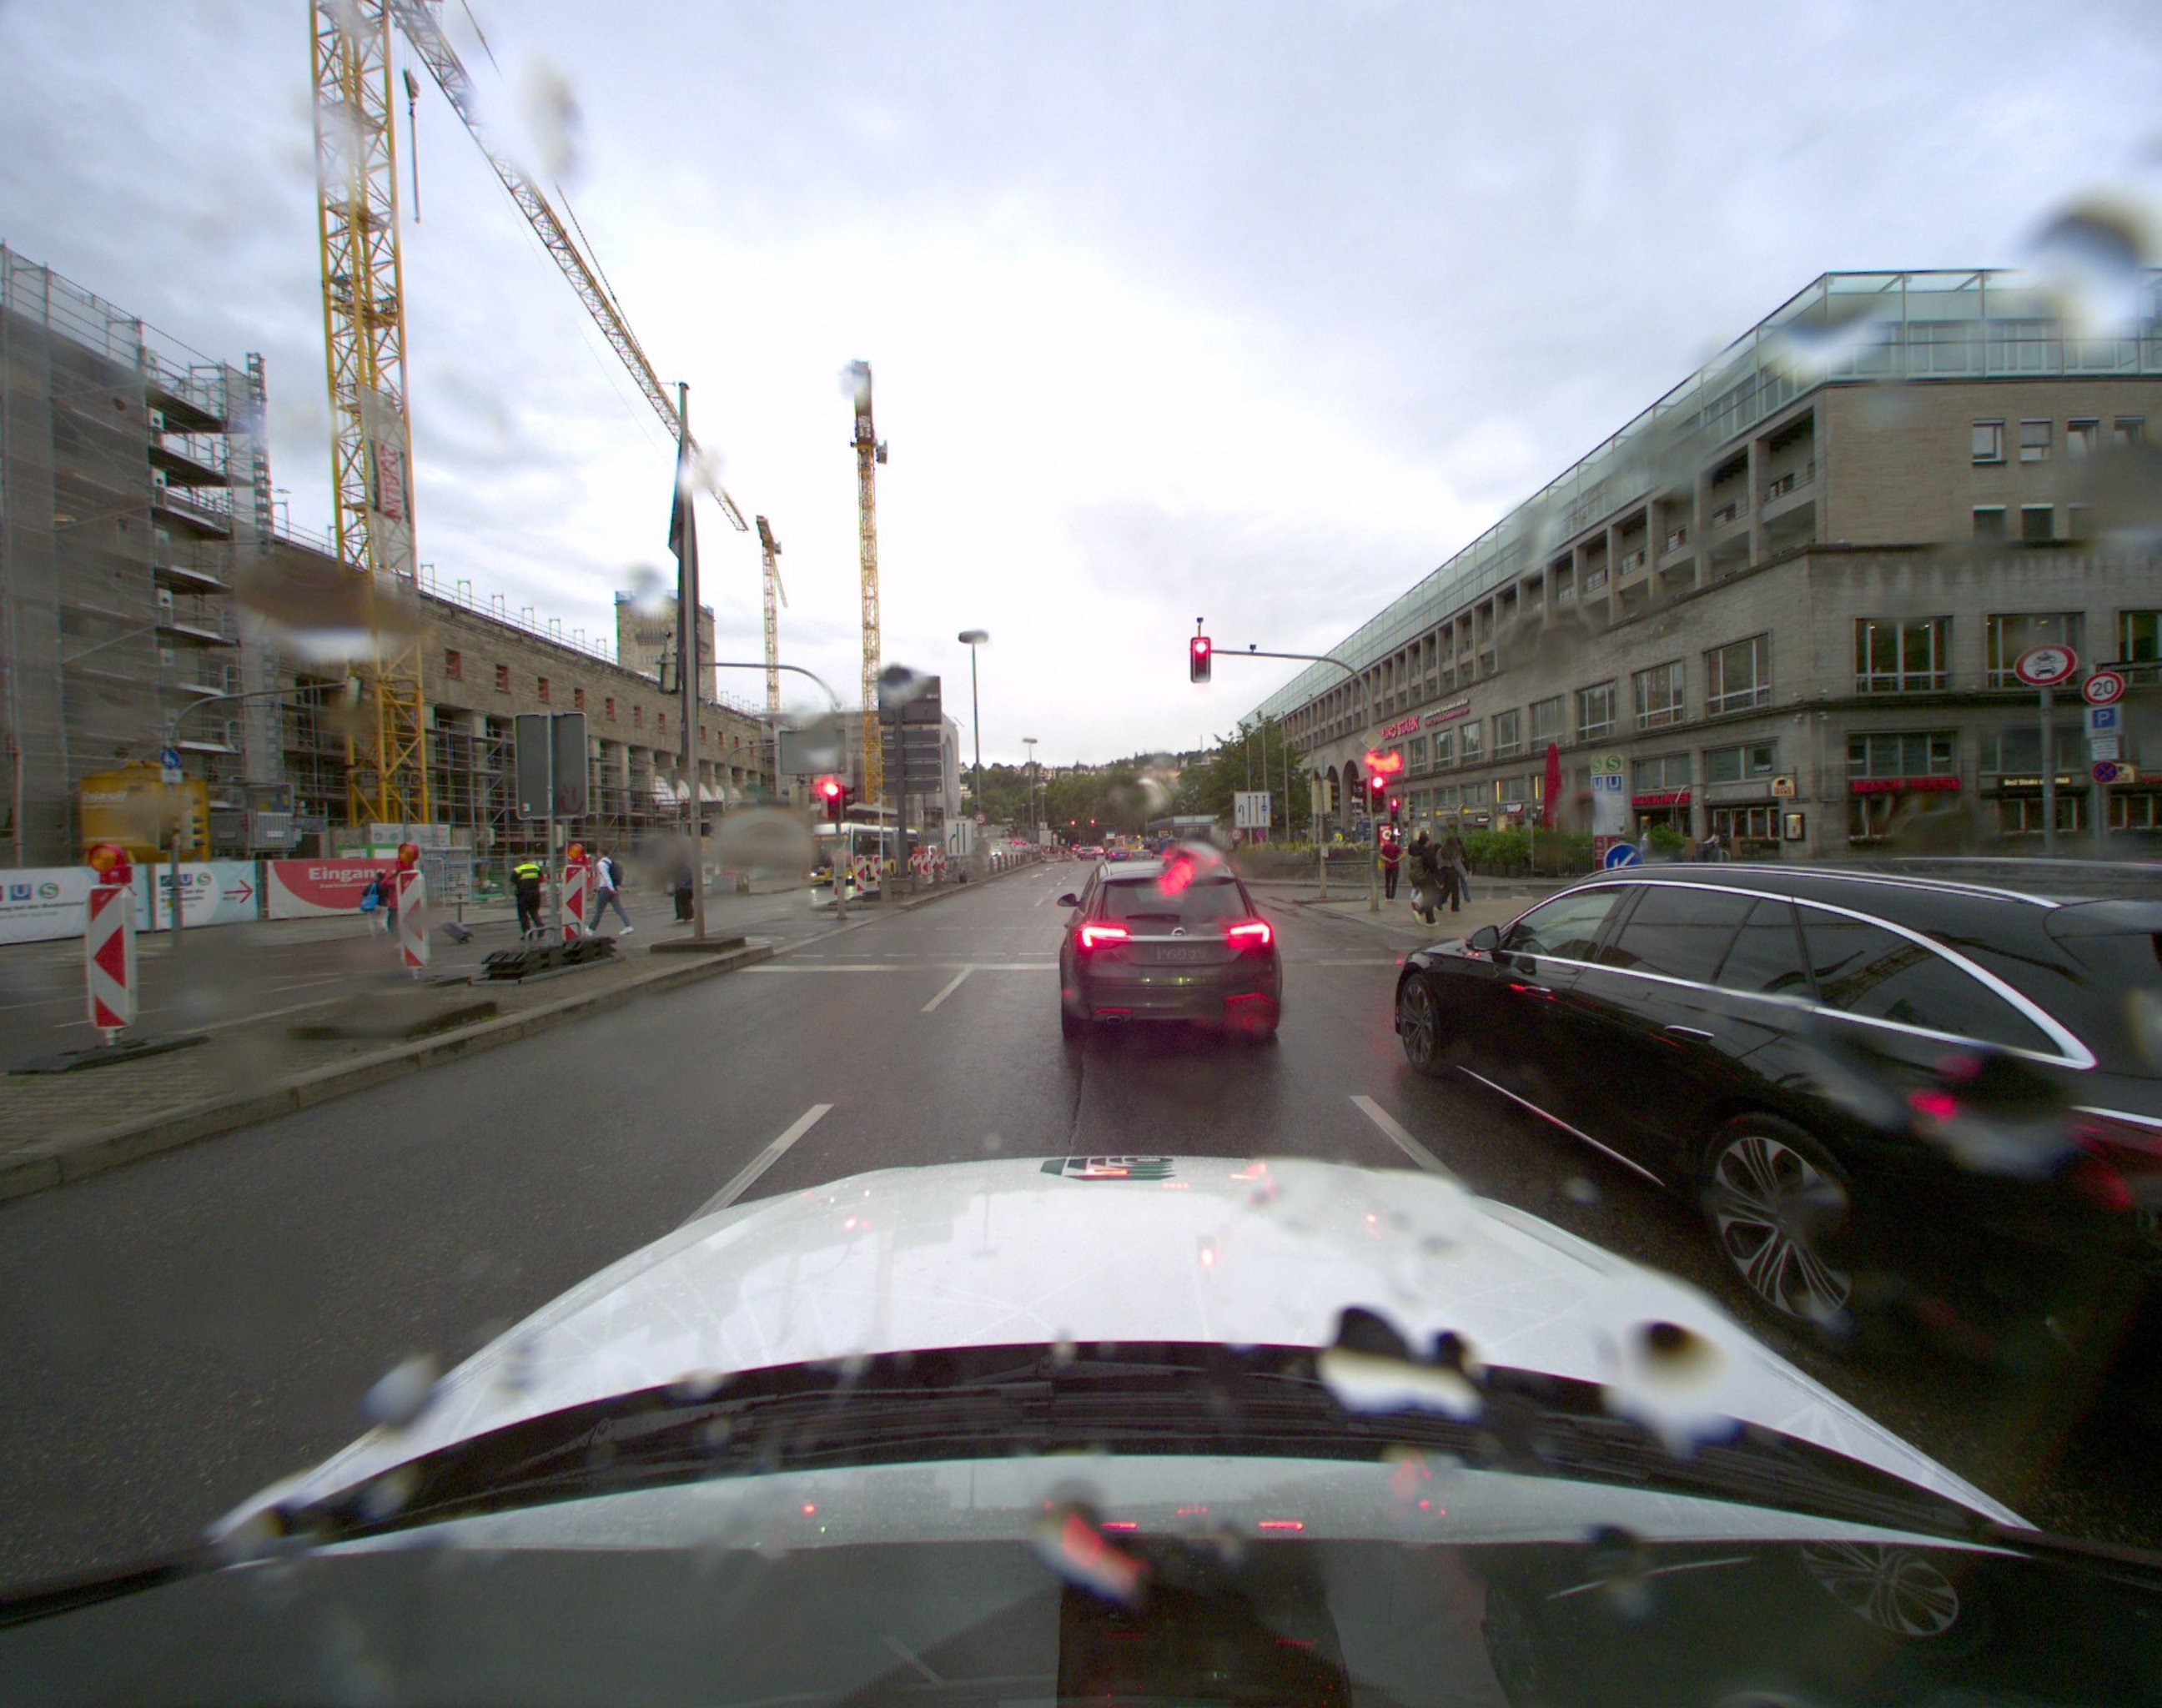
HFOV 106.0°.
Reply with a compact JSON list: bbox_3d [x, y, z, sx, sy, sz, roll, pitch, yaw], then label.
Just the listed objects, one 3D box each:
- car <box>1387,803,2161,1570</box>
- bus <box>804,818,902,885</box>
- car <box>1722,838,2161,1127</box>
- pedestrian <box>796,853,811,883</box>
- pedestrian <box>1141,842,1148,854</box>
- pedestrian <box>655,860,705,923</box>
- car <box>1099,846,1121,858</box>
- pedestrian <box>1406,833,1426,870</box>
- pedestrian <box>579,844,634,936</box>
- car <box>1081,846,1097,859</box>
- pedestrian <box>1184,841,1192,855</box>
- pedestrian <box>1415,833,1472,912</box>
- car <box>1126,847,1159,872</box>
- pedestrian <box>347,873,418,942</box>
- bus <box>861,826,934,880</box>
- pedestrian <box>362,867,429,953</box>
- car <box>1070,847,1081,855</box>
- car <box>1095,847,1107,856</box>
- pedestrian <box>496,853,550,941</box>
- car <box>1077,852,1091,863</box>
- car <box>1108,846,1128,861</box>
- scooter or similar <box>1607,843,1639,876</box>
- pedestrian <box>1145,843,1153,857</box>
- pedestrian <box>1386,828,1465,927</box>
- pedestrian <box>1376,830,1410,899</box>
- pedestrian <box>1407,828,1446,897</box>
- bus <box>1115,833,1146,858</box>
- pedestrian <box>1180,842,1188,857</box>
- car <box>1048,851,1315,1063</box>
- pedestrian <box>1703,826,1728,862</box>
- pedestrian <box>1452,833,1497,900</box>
[{"bbox_3d":[3.089,0.655,3.724,1.786,1.501,4.631,0,0,2],"label":"car"},{"bbox_3d":[-13.387,-0.100,48.832,2.658,3.602,10.243,0,0,2],"label":"bus"},{"bbox_3d":[6.488,0.657,4.844,1.868,1.486,4.527,0,0,1],"label":"car"},{"bbox_3d":[-16.044,0.810,47.067,0.657,1.680,0.644,0,-1,2],"label":"pedestrian"},{"bbox_3d":[11.788,-1.104,151.109,1.194,2.149,1.229,0,-1,3],"label":"pedestrian"},{"bbox_3d":[-10.257,0.949,20.852,0.868,1.561,0.788,0,-1,5],"label":"pedestrian"},{"bbox_3d":[3.443,-0.243,96.170,1.753,1.398,4.387,0,0,-10],"label":"car"},{"bbox_3d":[18.567,-0.154,45.184,0.756,2.014,0.830,-1,-1,43],"label":"pedestrian"},{"bbox_3d":[-9.920,0.739,17.040,0.798,1.890,0.618,0,-1,-7],"label":"pedestrian"},{"bbox_3d":[0.942,-0.150,93.410,1.747,1.398,4.538,0,0,0],"label":"car"},{"bbox_3d":[12.388,-0.697,93.997,0.761,1.690,0.824,0,-1,-3],"label":"pedestrian"},{"bbox_3d":[7.709,0.386,17.348,0.791,1.626,0.899,0,-1,-2],"label":"pedestrian"},{"bbox_3d":[3.677,0.326,49.124,1.838,1.398,3.668,0,0,2],"label":"car"},{"bbox_3d":[-16.508,1.243,19.269,0.912,1.563,0.899,0,-1,-2],"label":"pedestrian"},{"bbox_3d":[-13.065,-0.051,59.016,2.658,3.602,10.215,0,0,2],"label":"bus"},{"bbox_3d":[-14.307,1.143,17.006,0.797,1.717,0.619,-3,0,-2],"label":"pedestrian"},{"bbox_3d":[-0.980,-0.588,150.195,1.752,1.398,3.565,0,0,2],"label":"car"},{"bbox_3d":[3.369,-0.360,136.194,1.839,1.398,3.565,0,0,2],"label":"car"},{"bbox_3d":[-11.986,0.908,17.523,0.576,1.836,0.820,0,-1,2],"label":"pedestrian"},{"bbox_3d":[0.490,0.471,112.556,1.839,1.398,3.565,0,0,2],"label":"car"},{"bbox_3d":[3.547,-0.024,78.761,1.748,1.398,4.647,0,0,-1],"label":"car"},{"bbox_3d":[19.368,0.195,29.116,0.290,1.189,1.014,0,-1,-17],"label":"scooter or similar"},{"bbox_3d":[11.480,-0.644,137.413,1.194,2.435,1.229,0,-1,3],"label":"pedestrian"},{"bbox_3d":[6.404,0.433,15.179,1.093,1.751,0.653,-3,-1,-1],"label":"pedestrian"},{"bbox_3d":[8.109,0.276,21.162,0.563,1.752,0.684,-1,-1,44],"label":"pedestrian"},{"bbox_3d":[8.685,0.216,20.493,0.753,1.717,0.466,0,-1,-2],"label":"pedestrian"},{"bbox_3d":[7.218,-1.131,120.934,4.158,3.469,14.660,0,0,2],"label":"bus"},{"bbox_3d":[12.013,-0.536,95.272,0.761,1.690,0.824,0,-1,-3],"label":"pedestrian"},{"bbox_3d":[0.755,0.735,7.733,1.868,1.486,4.001,0,0,1],"label":"car"},{"bbox_3d":[26.774,-0.419,34.358,0.750,1.512,0.721,-1,-1,43],"label":"pedestrian"},{"bbox_3d":[9.575,0.298,19.839,0.797,1.608,0.619,0,-1,-2],"label":"pedestrian"}]
